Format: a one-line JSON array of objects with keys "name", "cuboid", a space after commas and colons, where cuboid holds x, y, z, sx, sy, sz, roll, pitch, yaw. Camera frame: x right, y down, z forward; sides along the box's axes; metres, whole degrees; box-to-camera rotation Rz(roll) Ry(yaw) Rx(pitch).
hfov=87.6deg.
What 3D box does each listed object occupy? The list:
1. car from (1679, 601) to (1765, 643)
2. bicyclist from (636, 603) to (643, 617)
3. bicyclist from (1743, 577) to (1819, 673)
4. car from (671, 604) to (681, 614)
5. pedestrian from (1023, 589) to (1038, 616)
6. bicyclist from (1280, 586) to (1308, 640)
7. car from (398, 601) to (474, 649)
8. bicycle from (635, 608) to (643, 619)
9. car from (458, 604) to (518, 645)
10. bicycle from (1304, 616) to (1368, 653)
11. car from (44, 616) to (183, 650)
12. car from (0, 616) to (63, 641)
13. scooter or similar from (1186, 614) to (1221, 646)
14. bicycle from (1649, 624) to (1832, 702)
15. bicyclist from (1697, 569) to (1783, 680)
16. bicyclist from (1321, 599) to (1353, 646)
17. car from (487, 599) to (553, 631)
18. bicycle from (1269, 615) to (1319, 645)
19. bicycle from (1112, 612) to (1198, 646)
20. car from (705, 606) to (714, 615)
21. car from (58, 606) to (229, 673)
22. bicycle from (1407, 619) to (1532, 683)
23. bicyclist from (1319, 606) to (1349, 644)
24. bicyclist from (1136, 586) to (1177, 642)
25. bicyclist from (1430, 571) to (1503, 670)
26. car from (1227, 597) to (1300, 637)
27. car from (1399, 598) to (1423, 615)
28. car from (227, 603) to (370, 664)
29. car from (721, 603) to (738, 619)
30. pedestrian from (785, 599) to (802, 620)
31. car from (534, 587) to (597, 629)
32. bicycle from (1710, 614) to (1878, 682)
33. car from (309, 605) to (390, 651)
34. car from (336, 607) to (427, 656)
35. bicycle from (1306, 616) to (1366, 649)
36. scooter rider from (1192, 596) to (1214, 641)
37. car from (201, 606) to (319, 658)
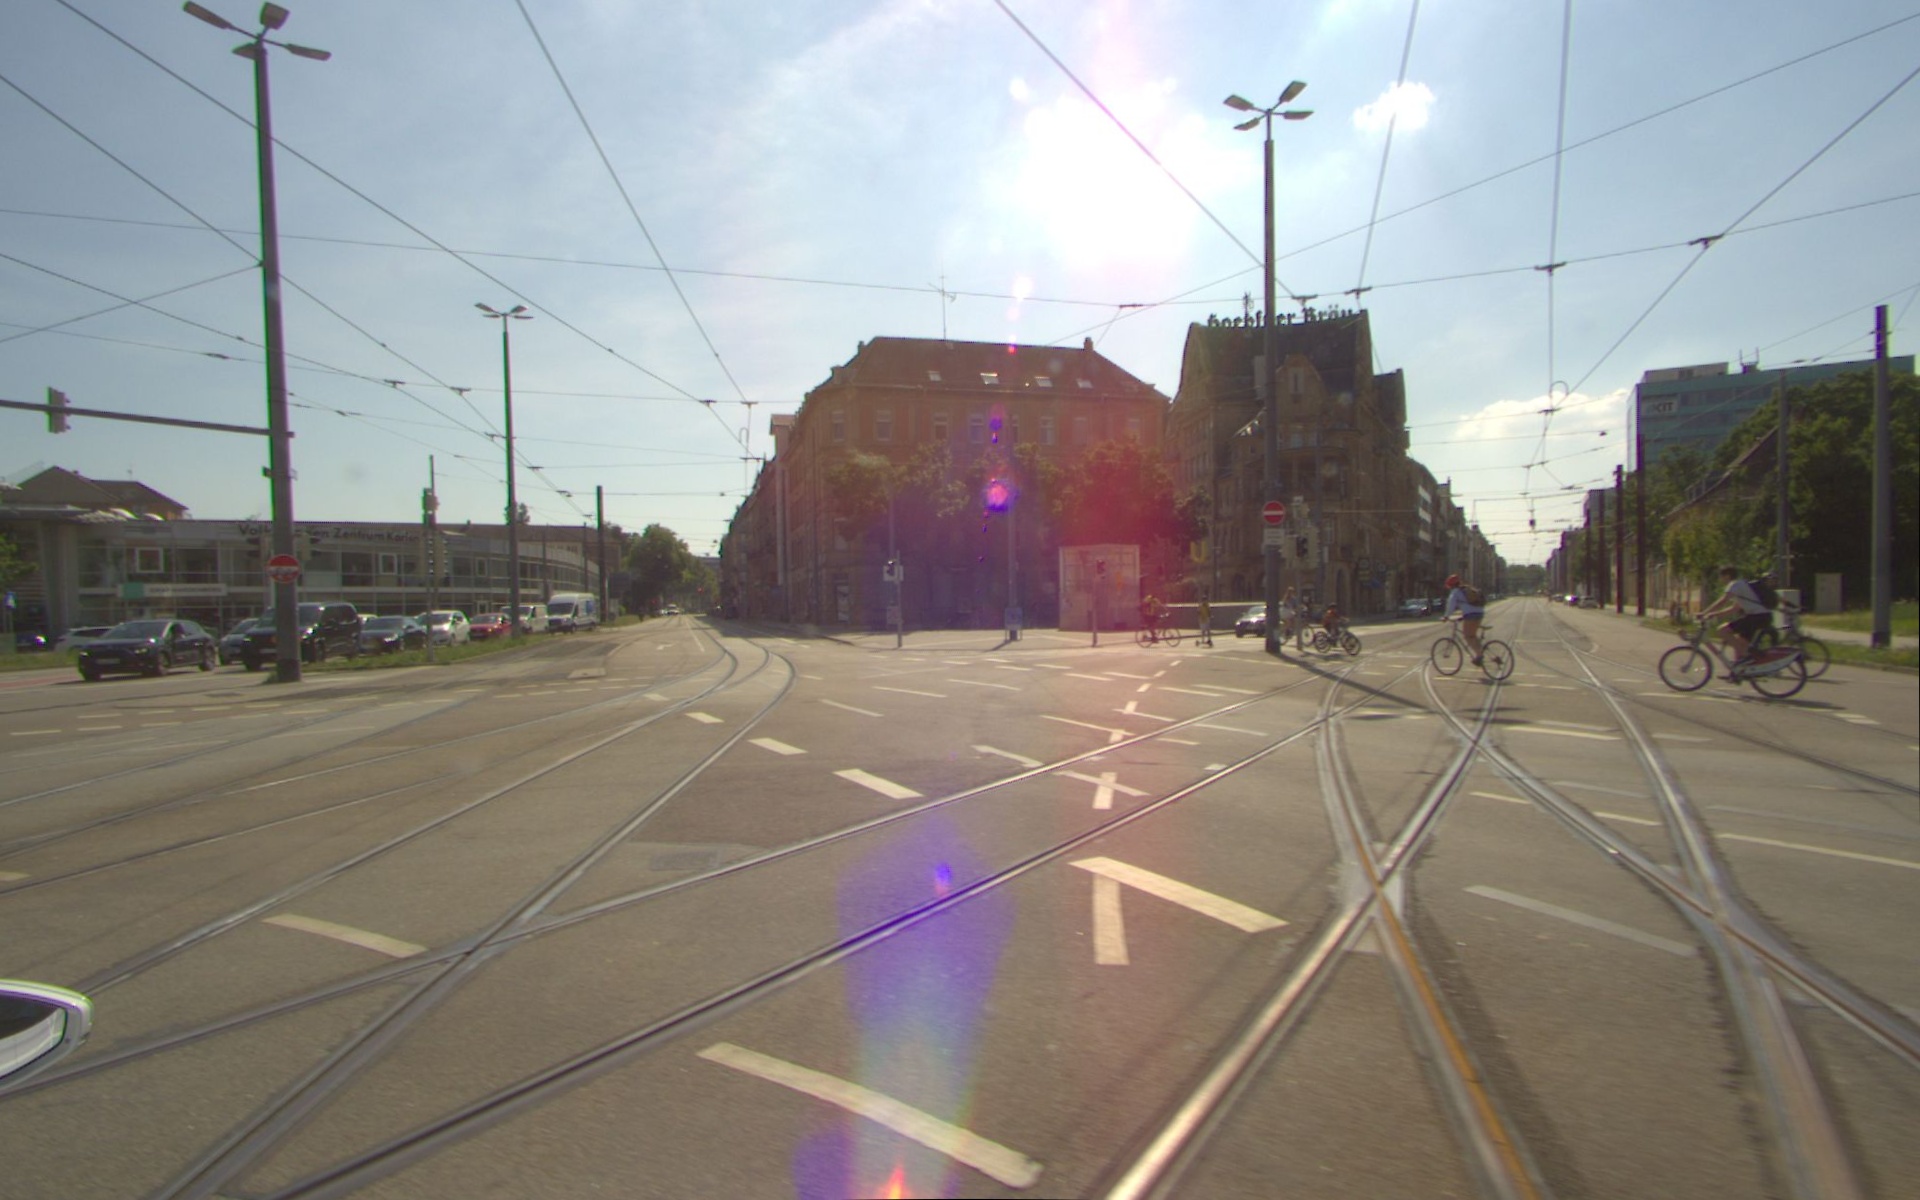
[{"name": "car", "cuboid": [25.501, 0.710, 33.629, 1.645, 1.331, 3.439, -1, 0, 26]}, {"name": "bicyclist", "cuboid": [-37.034, 1.147, 115.573, 0.741, 1.588, 1.085, 1, -1, -16]}, {"name": "bicyclist", "cuboid": [14.520, 0.441, 17.732, 0.656, 1.645, 0.782, 1, 0, -8]}, {"name": "car", "cuboid": [-63.253, 1.940, 222.890, 1.803, 2.242, 3.995, -1, 0, -13]}, {"name": "pedestrian", "cuboid": [3.932, 0.145, 56.045, 0.700, 1.451, 0.612, 0, -1, 22]}, {"name": "bicyclist", "cuboid": [10.186, 0.395, 30.529, 0.494, 1.642, 0.647, 1, 0, -25]}, {"name": "car", "cuboid": [-22.525, 1.097, 43.206, 1.865, 1.941, 4.197, -1, -1, -13]}, {"name": "bicycle", "cuboid": [-37.015, 1.554, 115.532, 0.741, 1.210, 2.835, 1, -2, -16]}, {"name": "car", "cuboid": [-23.719, 1.217, 50.454, 1.865, 1.941, 4.197, -1, -1, -13]}, {"name": "bicycle", "cuboid": [9.825, 0.897, 26.205, 0.513, 0.898, 1.565, -1, 1, -33]}, {"name": "car", "cuboid": [-37.722, 1.492, 44.742, 4.518, 1.454, 1.442, 1, -1, -17]}, {"name": "car", "cuboid": [-48.746, 1.482, 52.537, 1.811, 1.210, 3.978, 2, -2, -31]}, {"name": "scooter or similar", "cuboid": [7.748, 0.954, 31.909, 0.580, 0.988, 0.987, 1, -1, -30]}, {"name": "bicycle", "cuboid": [10.966, 0.862, 14.164, 1.994, 1.028, 0.712, -1, -2, 37]}, {"name": "bicyclist", "cuboid": [10.997, 0.348, 14.147, 0.938, 1.507, 0.712, 0, -1, 37]}, {"name": "bicyclist", "cuboid": [9.845, 0.588, 26.176, 0.513, 1.213, 0.599, -1, 2, -34]}, {"name": "car", "cuboid": [-25.405, 0.836, 57.983, 2.150, 1.703, 5.027, -1, 0, -8]}, {"name": "bicycle", "cuboid": [10.172, 0.908, 30.528, 0.494, 0.877, 1.581, 1, -1, -25]}, {"name": "bicycle", "cuboid": [6.515, 0.973, 33.513, 2.712, 1.083, 0.923, -1, -2, 38]}, {"name": "car", "cuboid": [-60.287, 2.490, 240.951, 1.963, 2.040, 3.996, -1, 0, -11]}, {"name": "car", "cuboid": [-21.756, 1.028, 26.925, 1.863, 1.608, 4.207, -1, -1, -13]}, {"name": "bicycle", "cuboid": [9.063, 0.873, 17.911, 0.704, 1.029, 2.014, -3, 1, -22]}, {"name": "bicyclist", "cuboid": [10.440, 0.686, 27.939, 0.495, 1.043, 0.602, 1, 0, -32]}, {"name": "bicyclist", "cuboid": [6.582, 0.490, 33.496, 1.039, 1.843, 0.923, 0, -1, 37]}, {"name": "bicyclist", "cuboid": [9.036, 0.359, 17.885, 0.704, 1.692, 0.872, -3, 1, -22]}, {"name": "car", "cuboid": [13.052, 0.695, 42.970, 1.619, 1.605, 3.969, 0, 0, 39]}, {"name": "car", "cuboid": [38.456, 0.547, 85.357, 1.613, 1.363, 3.568, -1, 0, 28]}, {"name": "car", "cuboid": [-19.114, 0.909, 29.202, 1.931, 1.609, 4.710, -1, 0, -13]}, {"name": "car", "cuboid": [-31.881, 1.552, 138.283, 2.078, 2.039, 3.995, 1, -2, -16]}, {"name": "pedestrian", "cuboid": [-11.274, 0.647, 67.773, 0.870, 1.452, 0.712, -1, 1, 11]}, {"name": "car", "cuboid": [-25.664, 0.593, 65.417, 2.173, 2.608, 5.876, 1, -2, -4]}, {"name": "bicycle", "cuboid": [14.522, 0.807, 17.552, 0.656, 1.083, 2.462, 1, 0, -8]}, {"name": "car", "cuboid": [-25.084, 1.156, 41.296, 1.626, 1.761, 4.197, -1, -1, -13]}, {"name": "car", "cuboid": [-20.622, 1.110, 35.880, 1.866, 1.608, 3.995, -1, -1, -16]}, {"name": "bicycle", "cuboid": [10.463, 0.903, 27.893, 0.495, 0.877, 1.578, 1, -1, -32]}, {"name": "scooter rider", "cuboid": [7.748, 0.604, 31.929, 0.580, 1.415, 0.404, 1, -1, -31]}, {"name": "car", "cuboid": [-23.485, 1.053, 33.776, 1.865, 1.608, 3.997, -1, -1, -13]}]
